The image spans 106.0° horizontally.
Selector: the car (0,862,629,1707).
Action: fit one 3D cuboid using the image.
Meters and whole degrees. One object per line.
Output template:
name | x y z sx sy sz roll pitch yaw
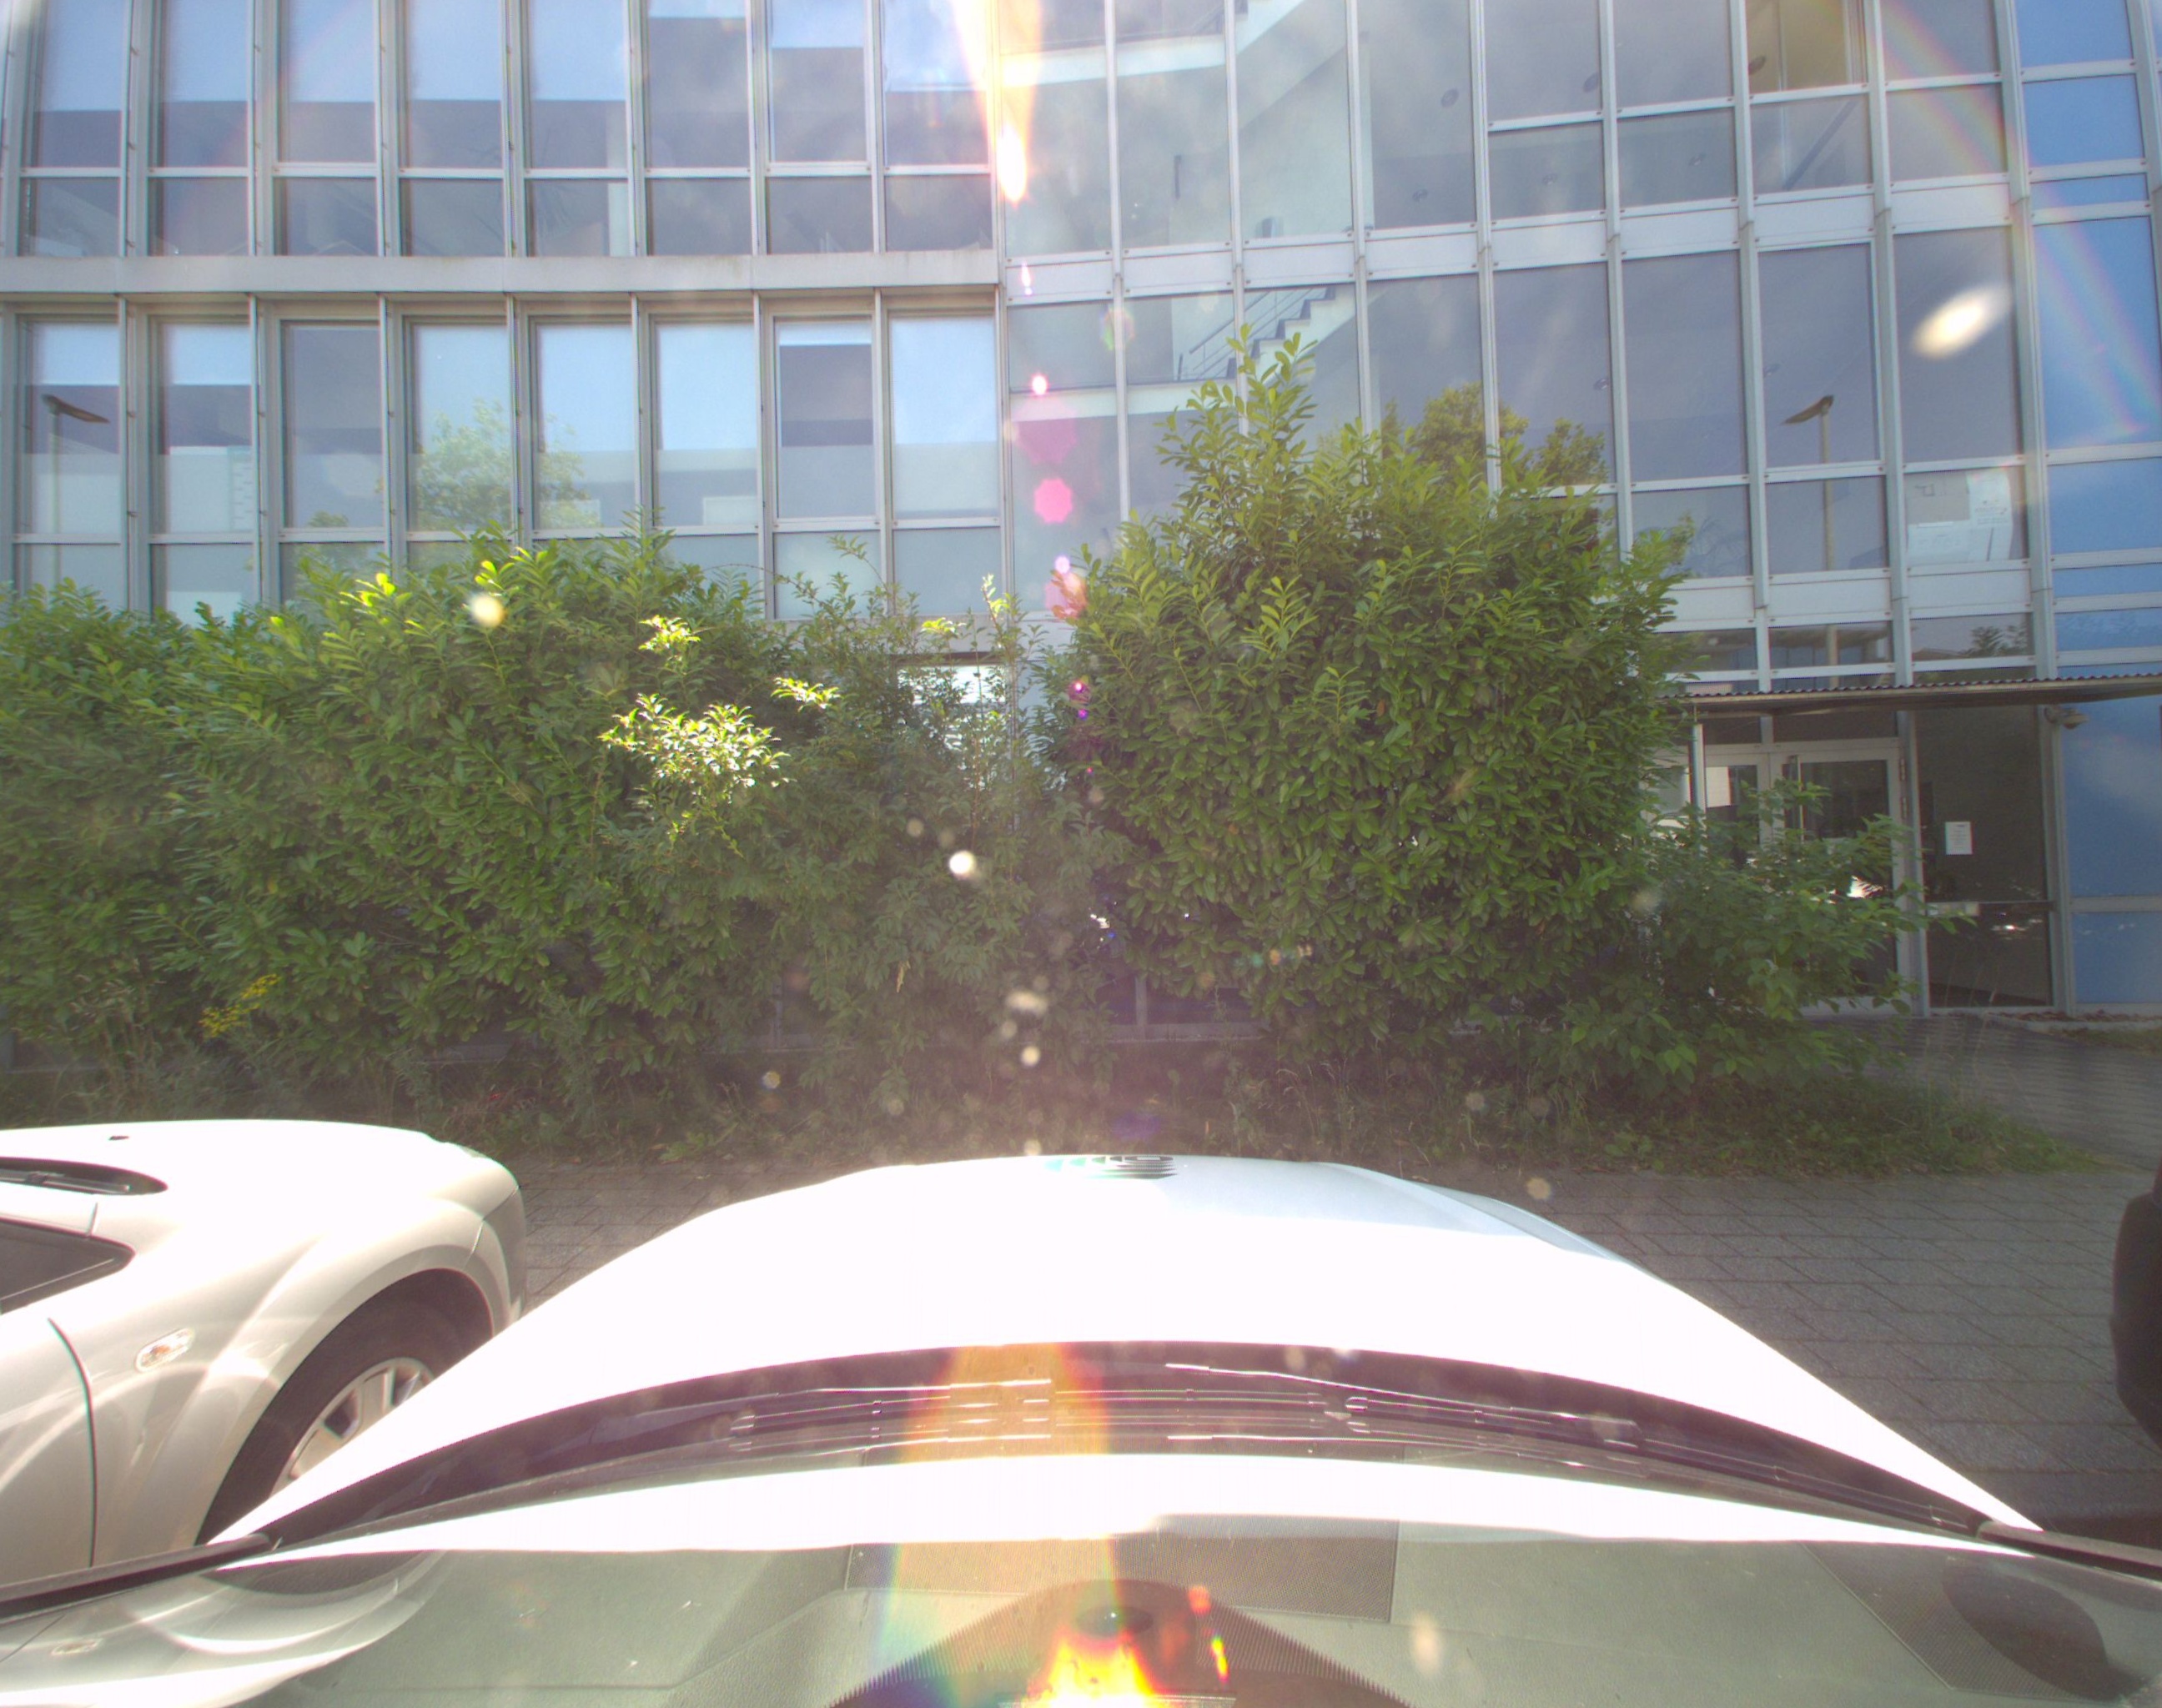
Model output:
car | -2.205 0.769 0.168 1.713 1.479 4.349 -1 0 1
